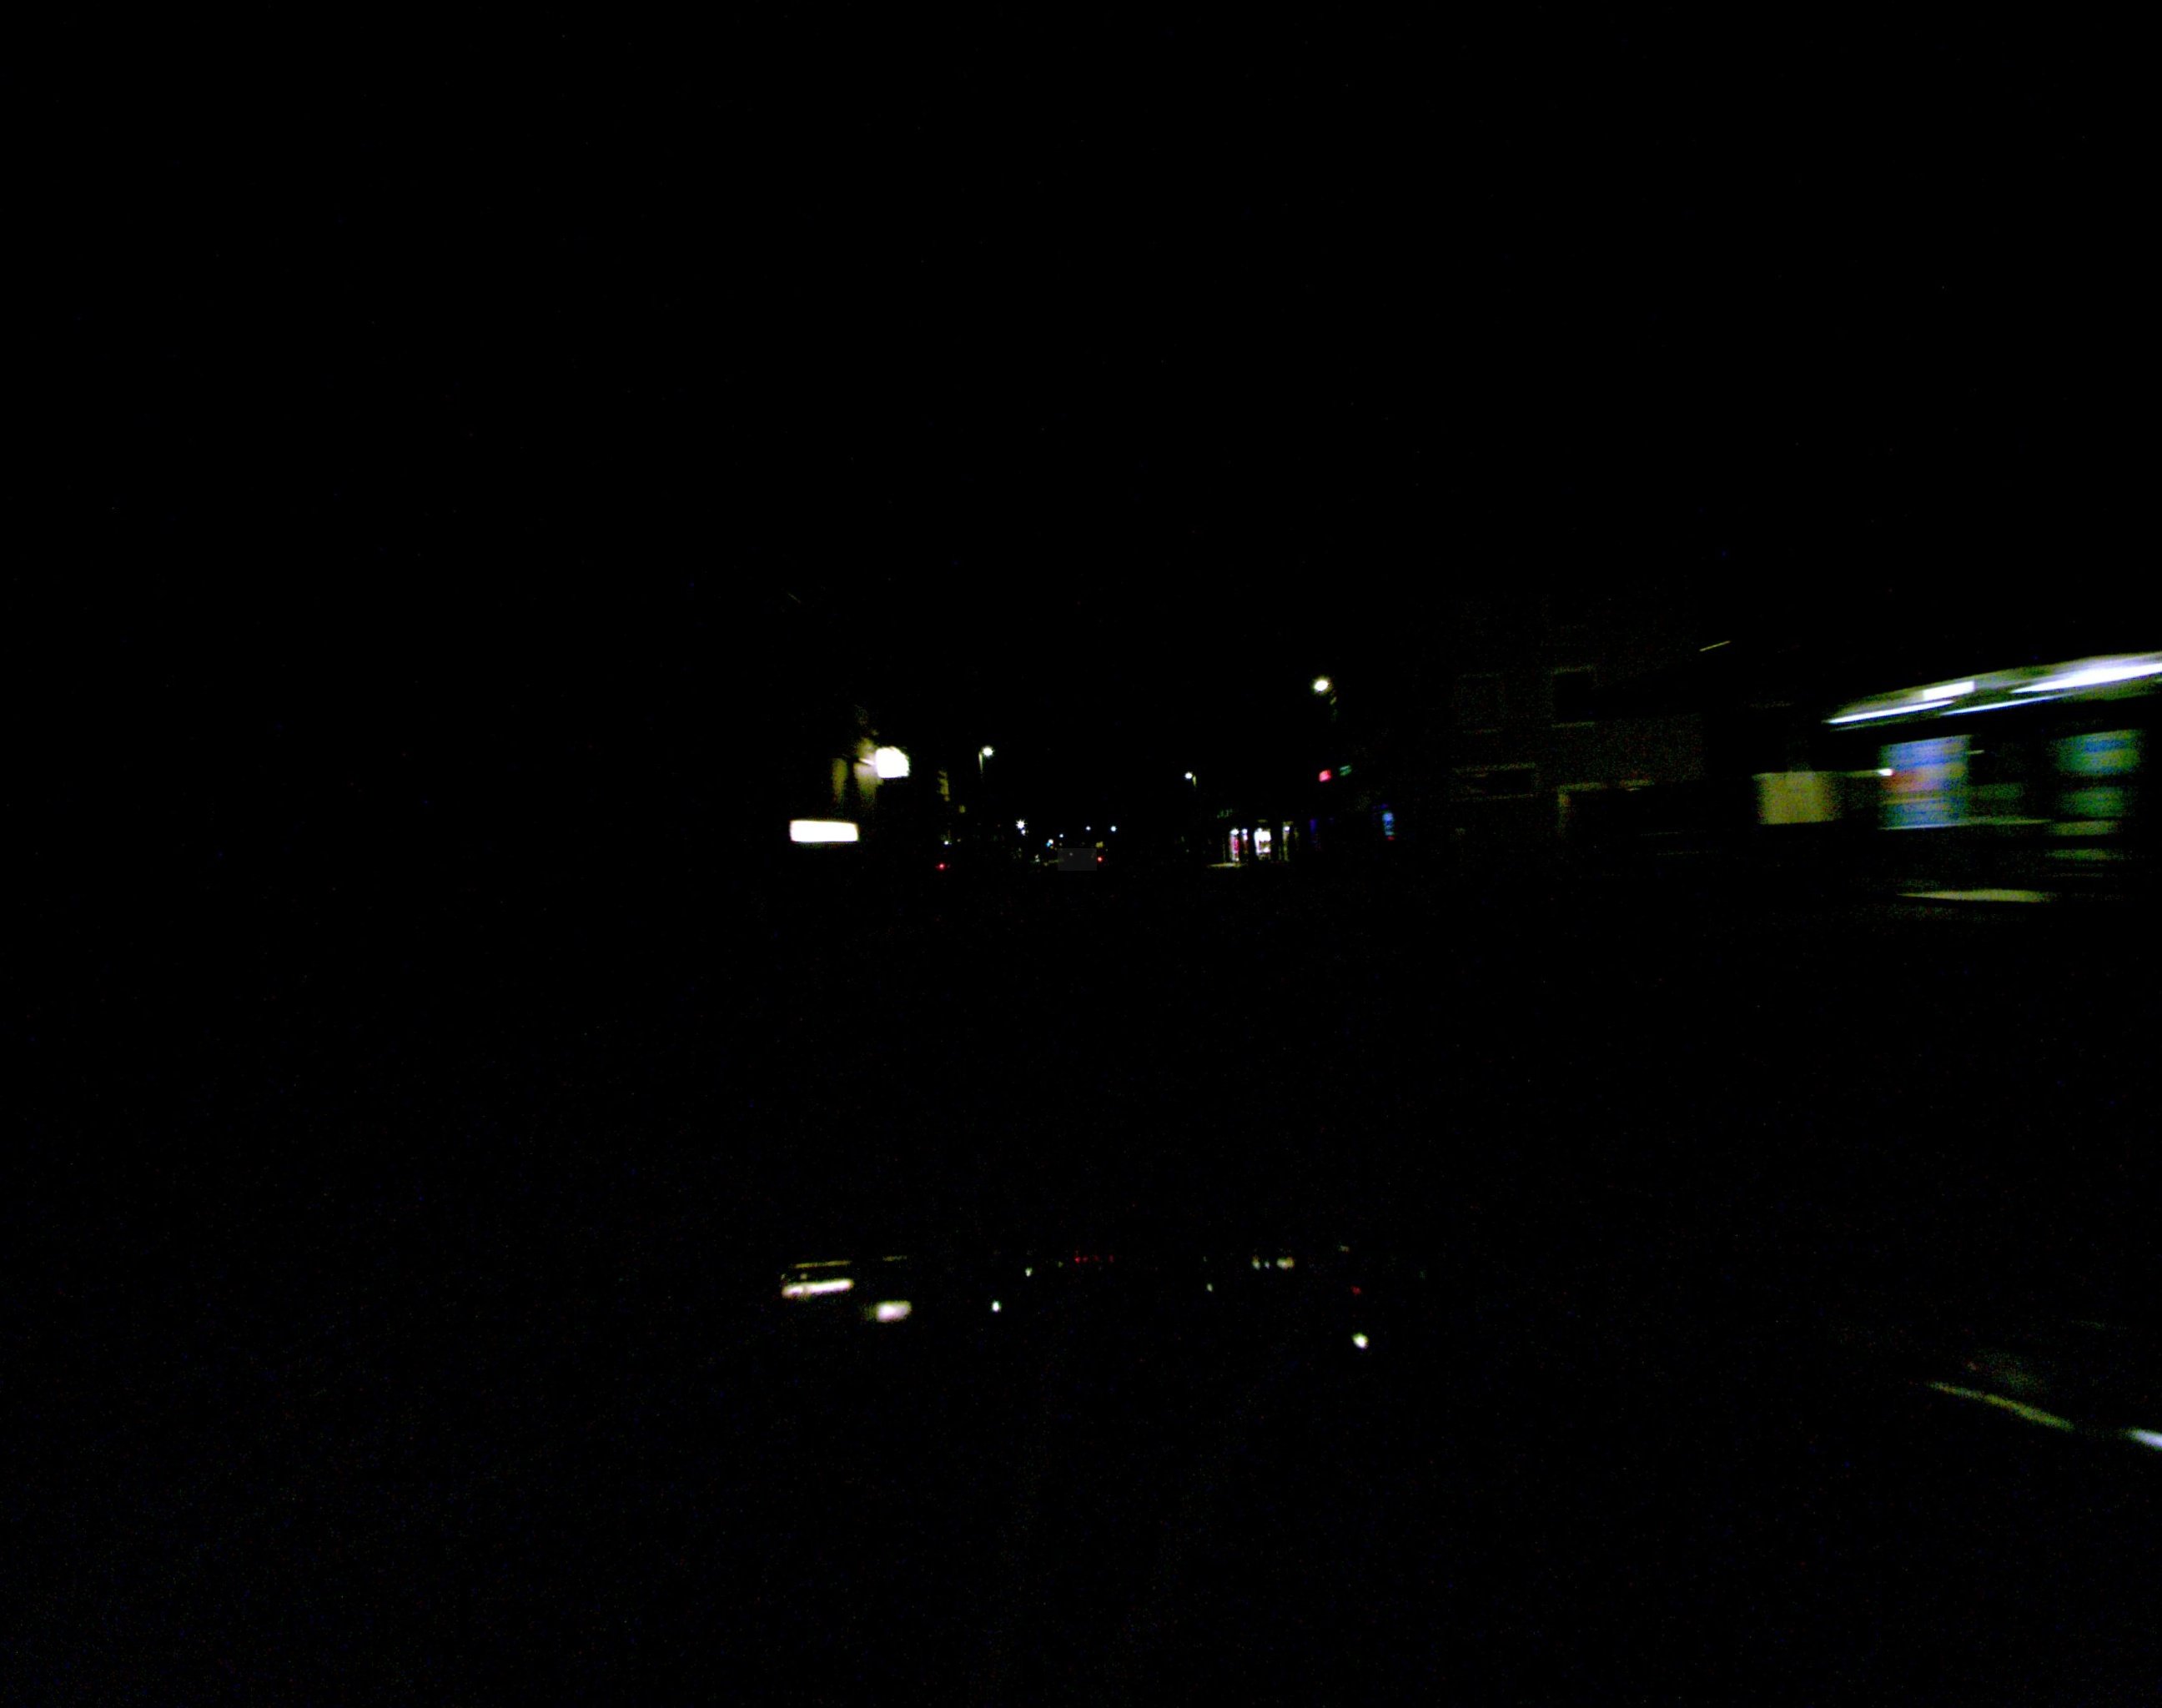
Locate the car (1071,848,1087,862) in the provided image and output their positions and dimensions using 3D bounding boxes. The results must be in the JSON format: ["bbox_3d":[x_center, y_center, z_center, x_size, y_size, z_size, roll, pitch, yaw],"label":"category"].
[{"bbox_3d":[-0.258,0.121,94.952,1.753,1.635,4.306,-2,0,-4],"label":"car"}]

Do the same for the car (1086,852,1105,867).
[{"bbox_3d":[1.462,0.530,75.692,1.721,1.420,3.815,-2,0,-1],"label":"car"}]

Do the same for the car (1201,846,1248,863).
[{"bbox_3d":[12.566,0.057,66.759,3.833,1.408,1.652,-2,0,0],"label":"car"}]

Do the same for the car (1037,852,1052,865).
[{"bbox_3d":[-4.361,0.560,90.022,1.607,1.474,3.698,-2,0,-4],"label":"car"}]

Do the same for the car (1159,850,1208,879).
[{"bbox_3d":[5.599,0.534,42.076,1.901,1.411,4.930,-4,0,-1],"label":"car"}]

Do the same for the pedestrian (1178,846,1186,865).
[{"bbox_3d":[8.615,0.121,64.744,0.529,1.579,0.666,-3,1,1],"label":"pedestrian"}]

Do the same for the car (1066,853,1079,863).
[{"bbox_3d":[-1.254,0.540,109.222,1.822,1.271,3.915,-2,0,-2],"label":"car"}]

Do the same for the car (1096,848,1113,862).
[{"bbox_3d":[2.925,0.136,96.093,1.814,1.637,3.803,-4,0,-2],"label":"car"}]

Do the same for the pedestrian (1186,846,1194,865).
[{"bbox_3d":[9.263,0.089,64.521,0.529,1.579,0.666,-3,1,-2],"label":"pedestrian"}]
